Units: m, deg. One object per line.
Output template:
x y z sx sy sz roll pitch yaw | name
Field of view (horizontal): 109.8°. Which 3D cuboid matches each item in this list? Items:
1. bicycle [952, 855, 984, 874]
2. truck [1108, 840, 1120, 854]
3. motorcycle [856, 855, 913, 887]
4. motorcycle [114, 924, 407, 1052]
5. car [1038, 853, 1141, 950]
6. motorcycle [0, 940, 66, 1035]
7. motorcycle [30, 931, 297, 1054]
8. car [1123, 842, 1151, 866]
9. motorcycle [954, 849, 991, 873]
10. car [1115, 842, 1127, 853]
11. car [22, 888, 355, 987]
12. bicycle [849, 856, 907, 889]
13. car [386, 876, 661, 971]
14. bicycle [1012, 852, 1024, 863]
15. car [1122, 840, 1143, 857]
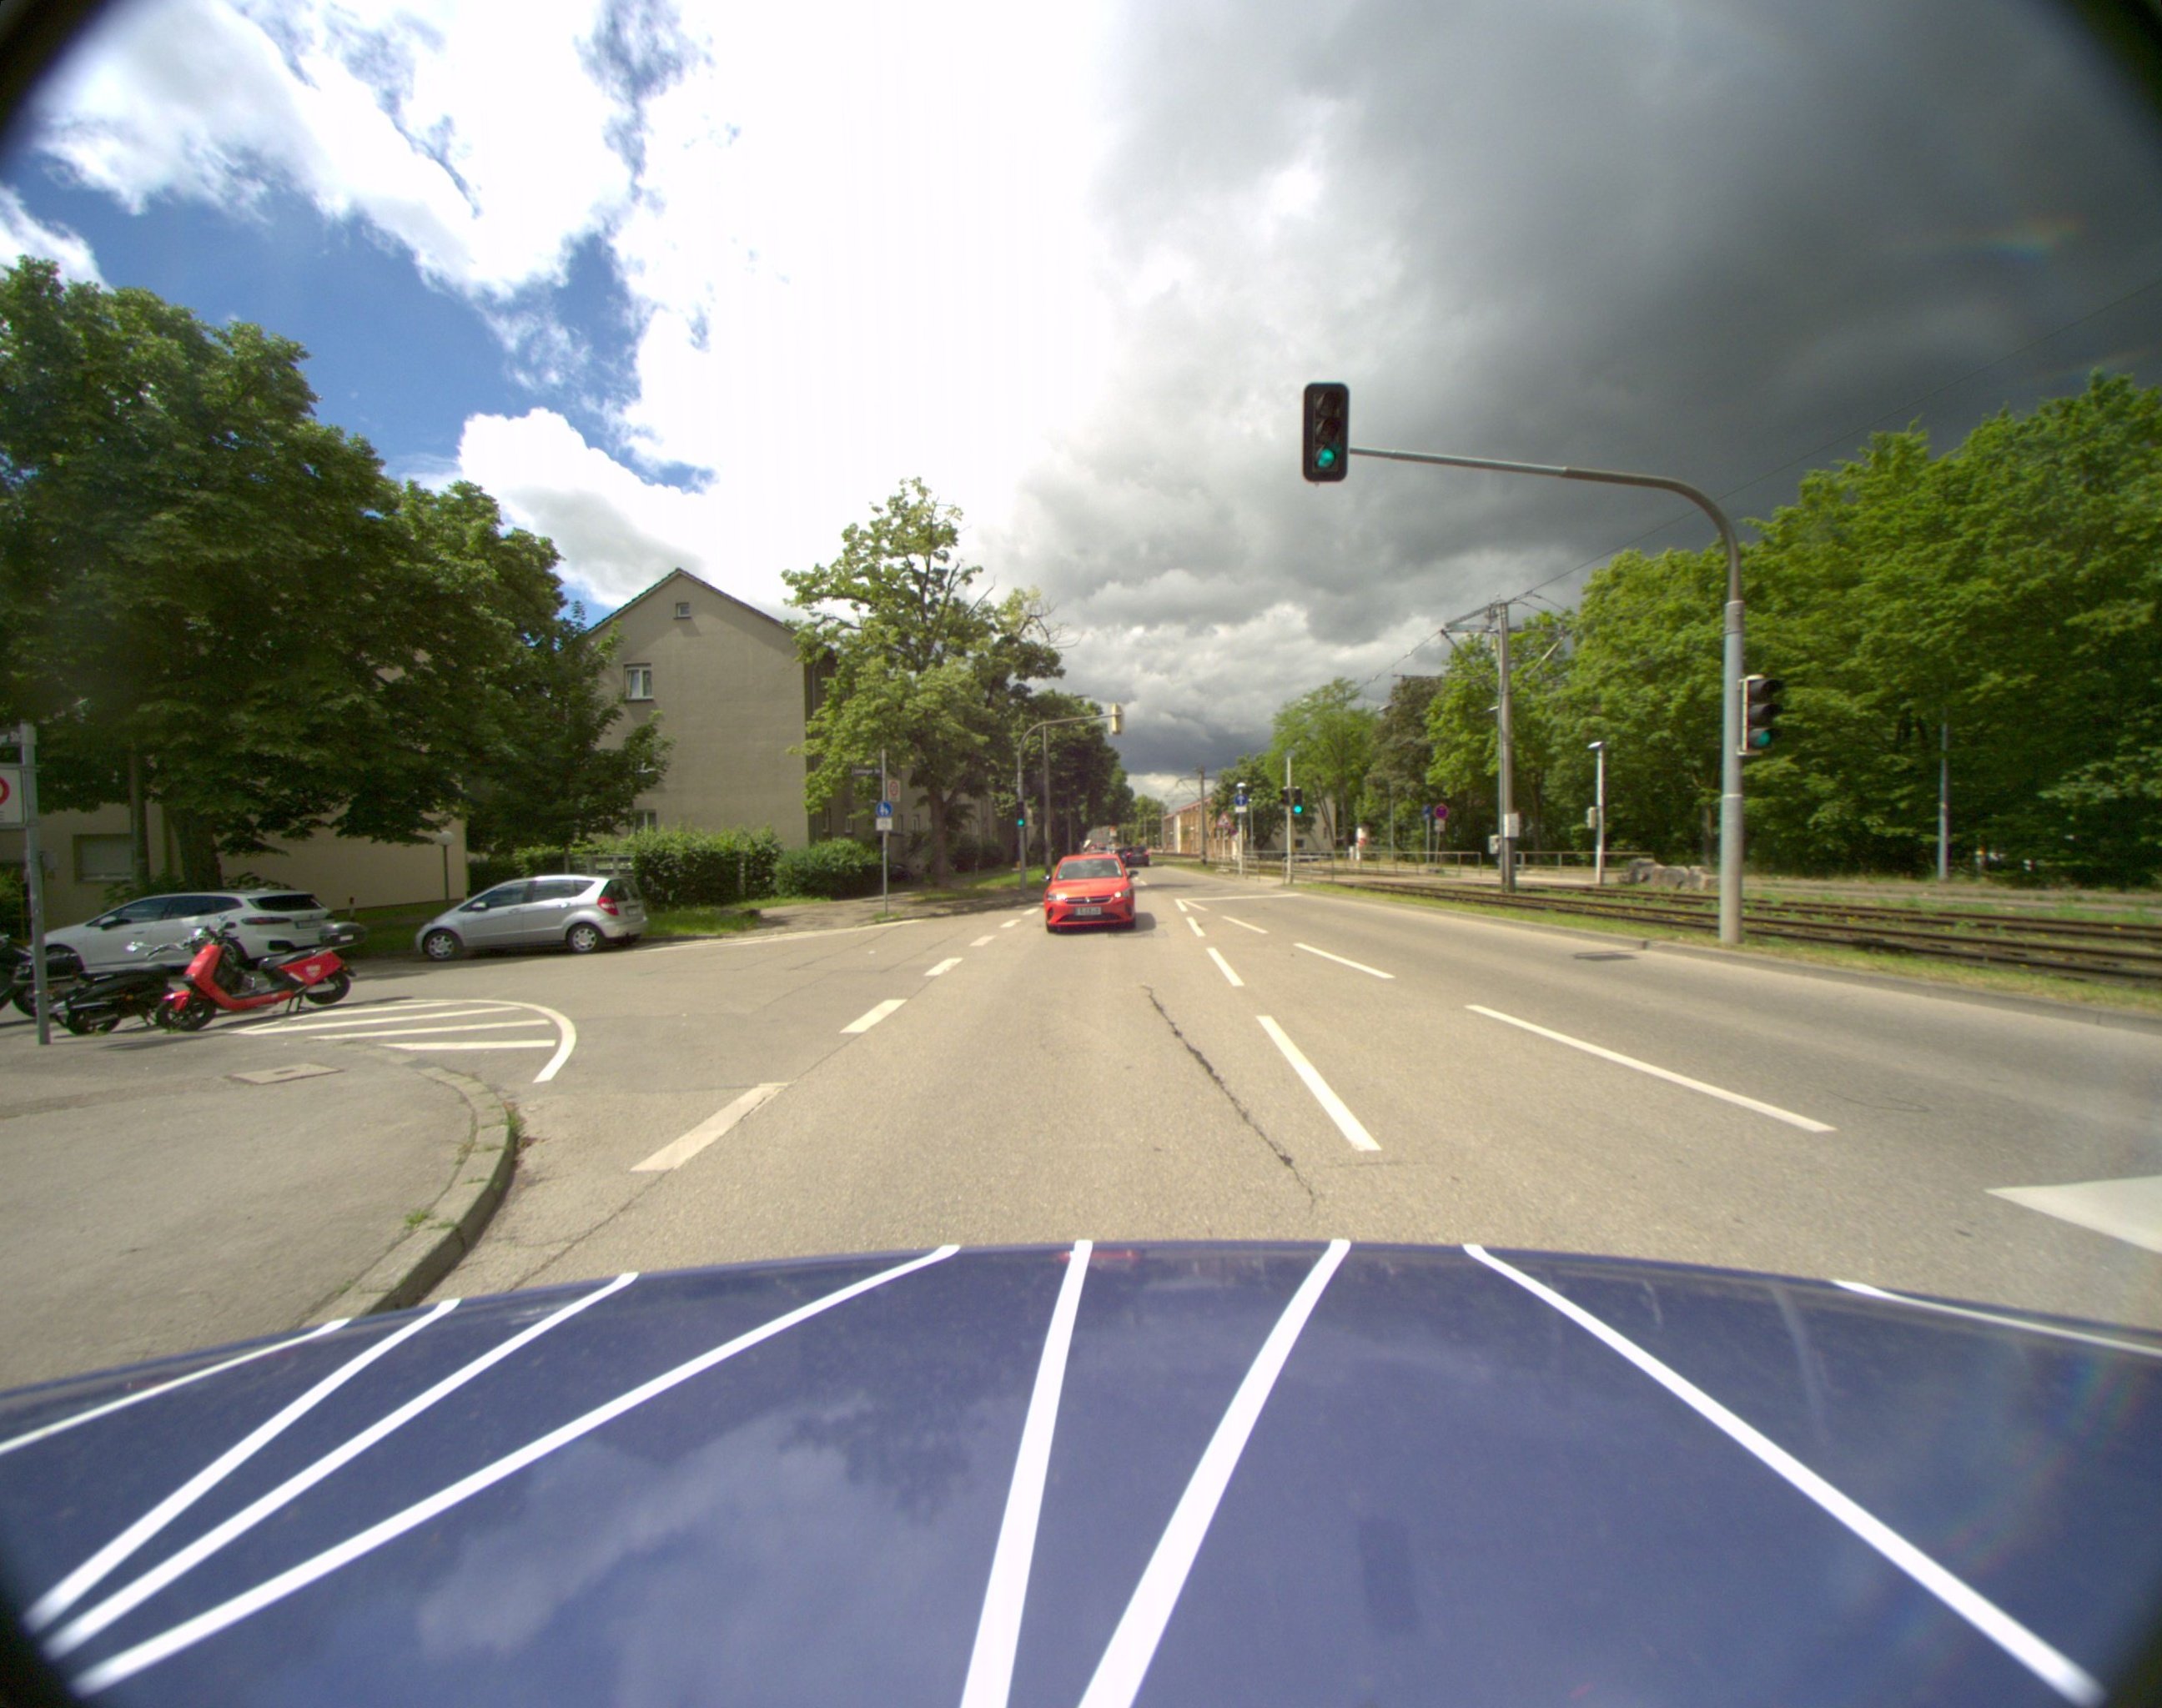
-6.766 0.648 45.610 1.801 1.078 0.455 -1 1 6 | bicycle
7.044 -1.524 164.883 2.096 2.724 5.096 -3 1 -2 | truck
-8.308 0.706 32.214 2.208 1.275 0.681 -1 2 9 | motorcycle
-10.311 1.618 9.735 0.659 1.142 2.427 -2 1 20 | motorcycle
0.164 0.796 14.585 1.666 1.513 3.785 -2 1 1 | car
-14.418 1.786 9.438 0.659 1.142 1.995 -2 1 19 | motorcycle
-11.543 1.684 9.681 0.659 1.142 1.995 -2 1 19 | motorcycle
4.349 -0.026 59.336 1.712 1.666 4.227 -3 1 -1 | car
-6.664 0.430 46.612 2.000 1.421 1.018 -1 1 11 | motorcycle
5.858 -0.942 112.307 1.585 1.477 3.806 -3 0 1 | car
-17.156 1.556 14.820 4.017 1.554 1.781 -2 0 -7 | car
-8.392 0.761 31.437 2.171 1.275 0.681 -1 2 9 | bicycle
-11.132 1.336 15.474 3.999 1.545 1.938 -2 1 -7 | car
-6.772 0.393 81.669 0.437 1.074 1.750 -4 2 -34 | bicycle
5.020 -0.527 74.717 1.717 1.557 4.166 -3 0 0 | car
